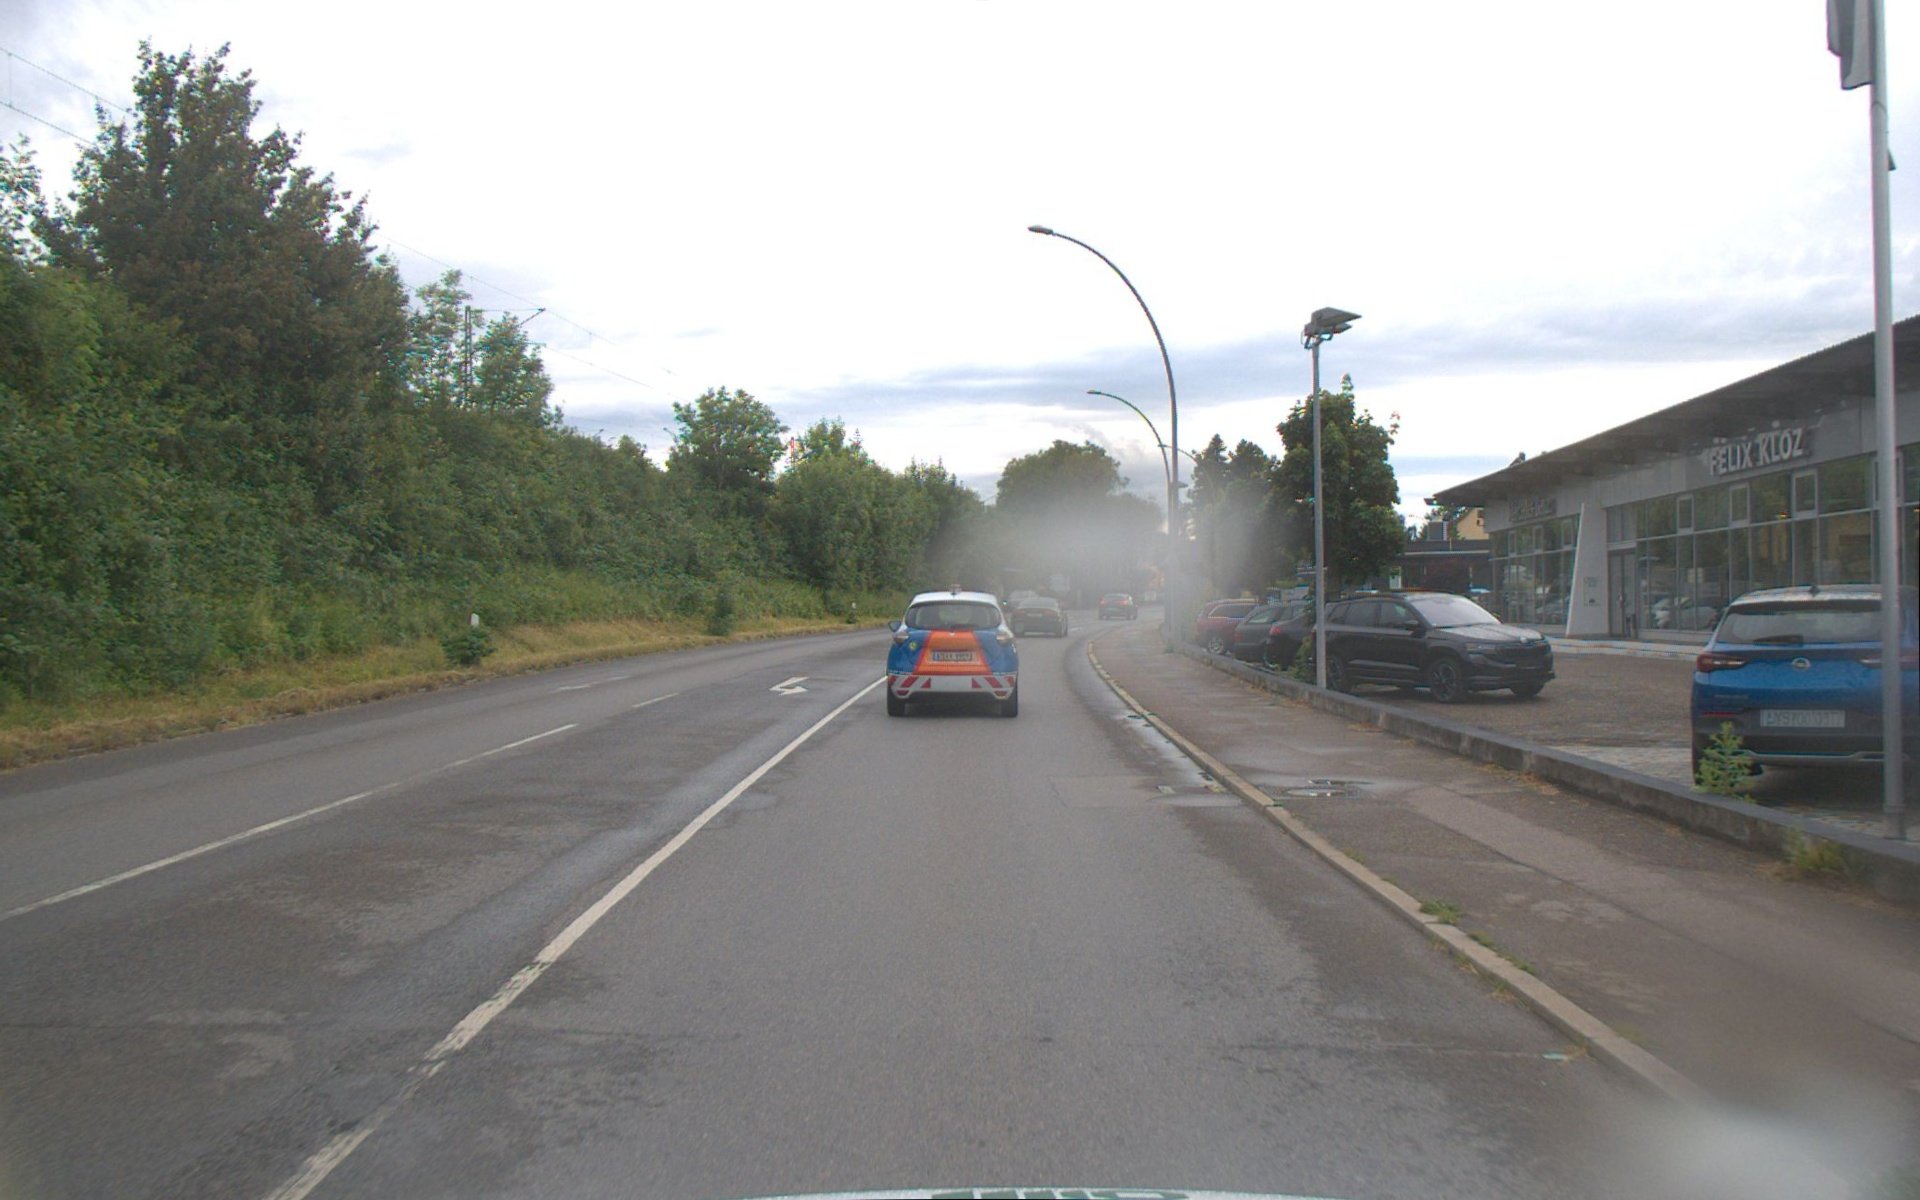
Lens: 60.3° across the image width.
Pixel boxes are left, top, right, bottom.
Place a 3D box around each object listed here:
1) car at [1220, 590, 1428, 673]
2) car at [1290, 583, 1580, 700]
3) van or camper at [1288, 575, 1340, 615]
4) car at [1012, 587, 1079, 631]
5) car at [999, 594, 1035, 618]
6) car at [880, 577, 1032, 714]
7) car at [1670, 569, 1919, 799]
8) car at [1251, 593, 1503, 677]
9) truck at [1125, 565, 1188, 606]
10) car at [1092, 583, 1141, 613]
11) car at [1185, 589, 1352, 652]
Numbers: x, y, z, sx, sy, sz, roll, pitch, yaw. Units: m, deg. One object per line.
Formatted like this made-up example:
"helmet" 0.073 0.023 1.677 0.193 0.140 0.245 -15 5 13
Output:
"car" 7.801 0.667 35.608 3.926 1.583 1.889 2 -1 40
"car" 7.308 0.574 25.941 1.814 1.636 4.510 -1 1 -27
"van or camper" 24.143 -0.332 112.629 2.000 2.638 6.585 -1 0 25
"car" 3.055 0.346 58.280 1.684 1.400 3.937 2 -1 13
"car" 3.806 0.423 110.025 1.951 1.499 4.703 2 -1 7
"car" -0.060 0.547 22.384 1.850 1.660 4.000 -1 0 0
"car" 7.595 0.618 14.165 1.807 1.661 4.349 -2 -1 36
"car" 8.036 0.628 32.035 4.353 1.505 1.927 0 0 36
"truck" 18.819 -1.326 157.993 2.647 3.471 9.055 2 -1 29
"car" 8.727 -0.085 91.757 1.952 1.445 4.002 3 -1 16
"car" 9.409 0.615 50.552 4.600 1.691 1.994 2 -1 33
